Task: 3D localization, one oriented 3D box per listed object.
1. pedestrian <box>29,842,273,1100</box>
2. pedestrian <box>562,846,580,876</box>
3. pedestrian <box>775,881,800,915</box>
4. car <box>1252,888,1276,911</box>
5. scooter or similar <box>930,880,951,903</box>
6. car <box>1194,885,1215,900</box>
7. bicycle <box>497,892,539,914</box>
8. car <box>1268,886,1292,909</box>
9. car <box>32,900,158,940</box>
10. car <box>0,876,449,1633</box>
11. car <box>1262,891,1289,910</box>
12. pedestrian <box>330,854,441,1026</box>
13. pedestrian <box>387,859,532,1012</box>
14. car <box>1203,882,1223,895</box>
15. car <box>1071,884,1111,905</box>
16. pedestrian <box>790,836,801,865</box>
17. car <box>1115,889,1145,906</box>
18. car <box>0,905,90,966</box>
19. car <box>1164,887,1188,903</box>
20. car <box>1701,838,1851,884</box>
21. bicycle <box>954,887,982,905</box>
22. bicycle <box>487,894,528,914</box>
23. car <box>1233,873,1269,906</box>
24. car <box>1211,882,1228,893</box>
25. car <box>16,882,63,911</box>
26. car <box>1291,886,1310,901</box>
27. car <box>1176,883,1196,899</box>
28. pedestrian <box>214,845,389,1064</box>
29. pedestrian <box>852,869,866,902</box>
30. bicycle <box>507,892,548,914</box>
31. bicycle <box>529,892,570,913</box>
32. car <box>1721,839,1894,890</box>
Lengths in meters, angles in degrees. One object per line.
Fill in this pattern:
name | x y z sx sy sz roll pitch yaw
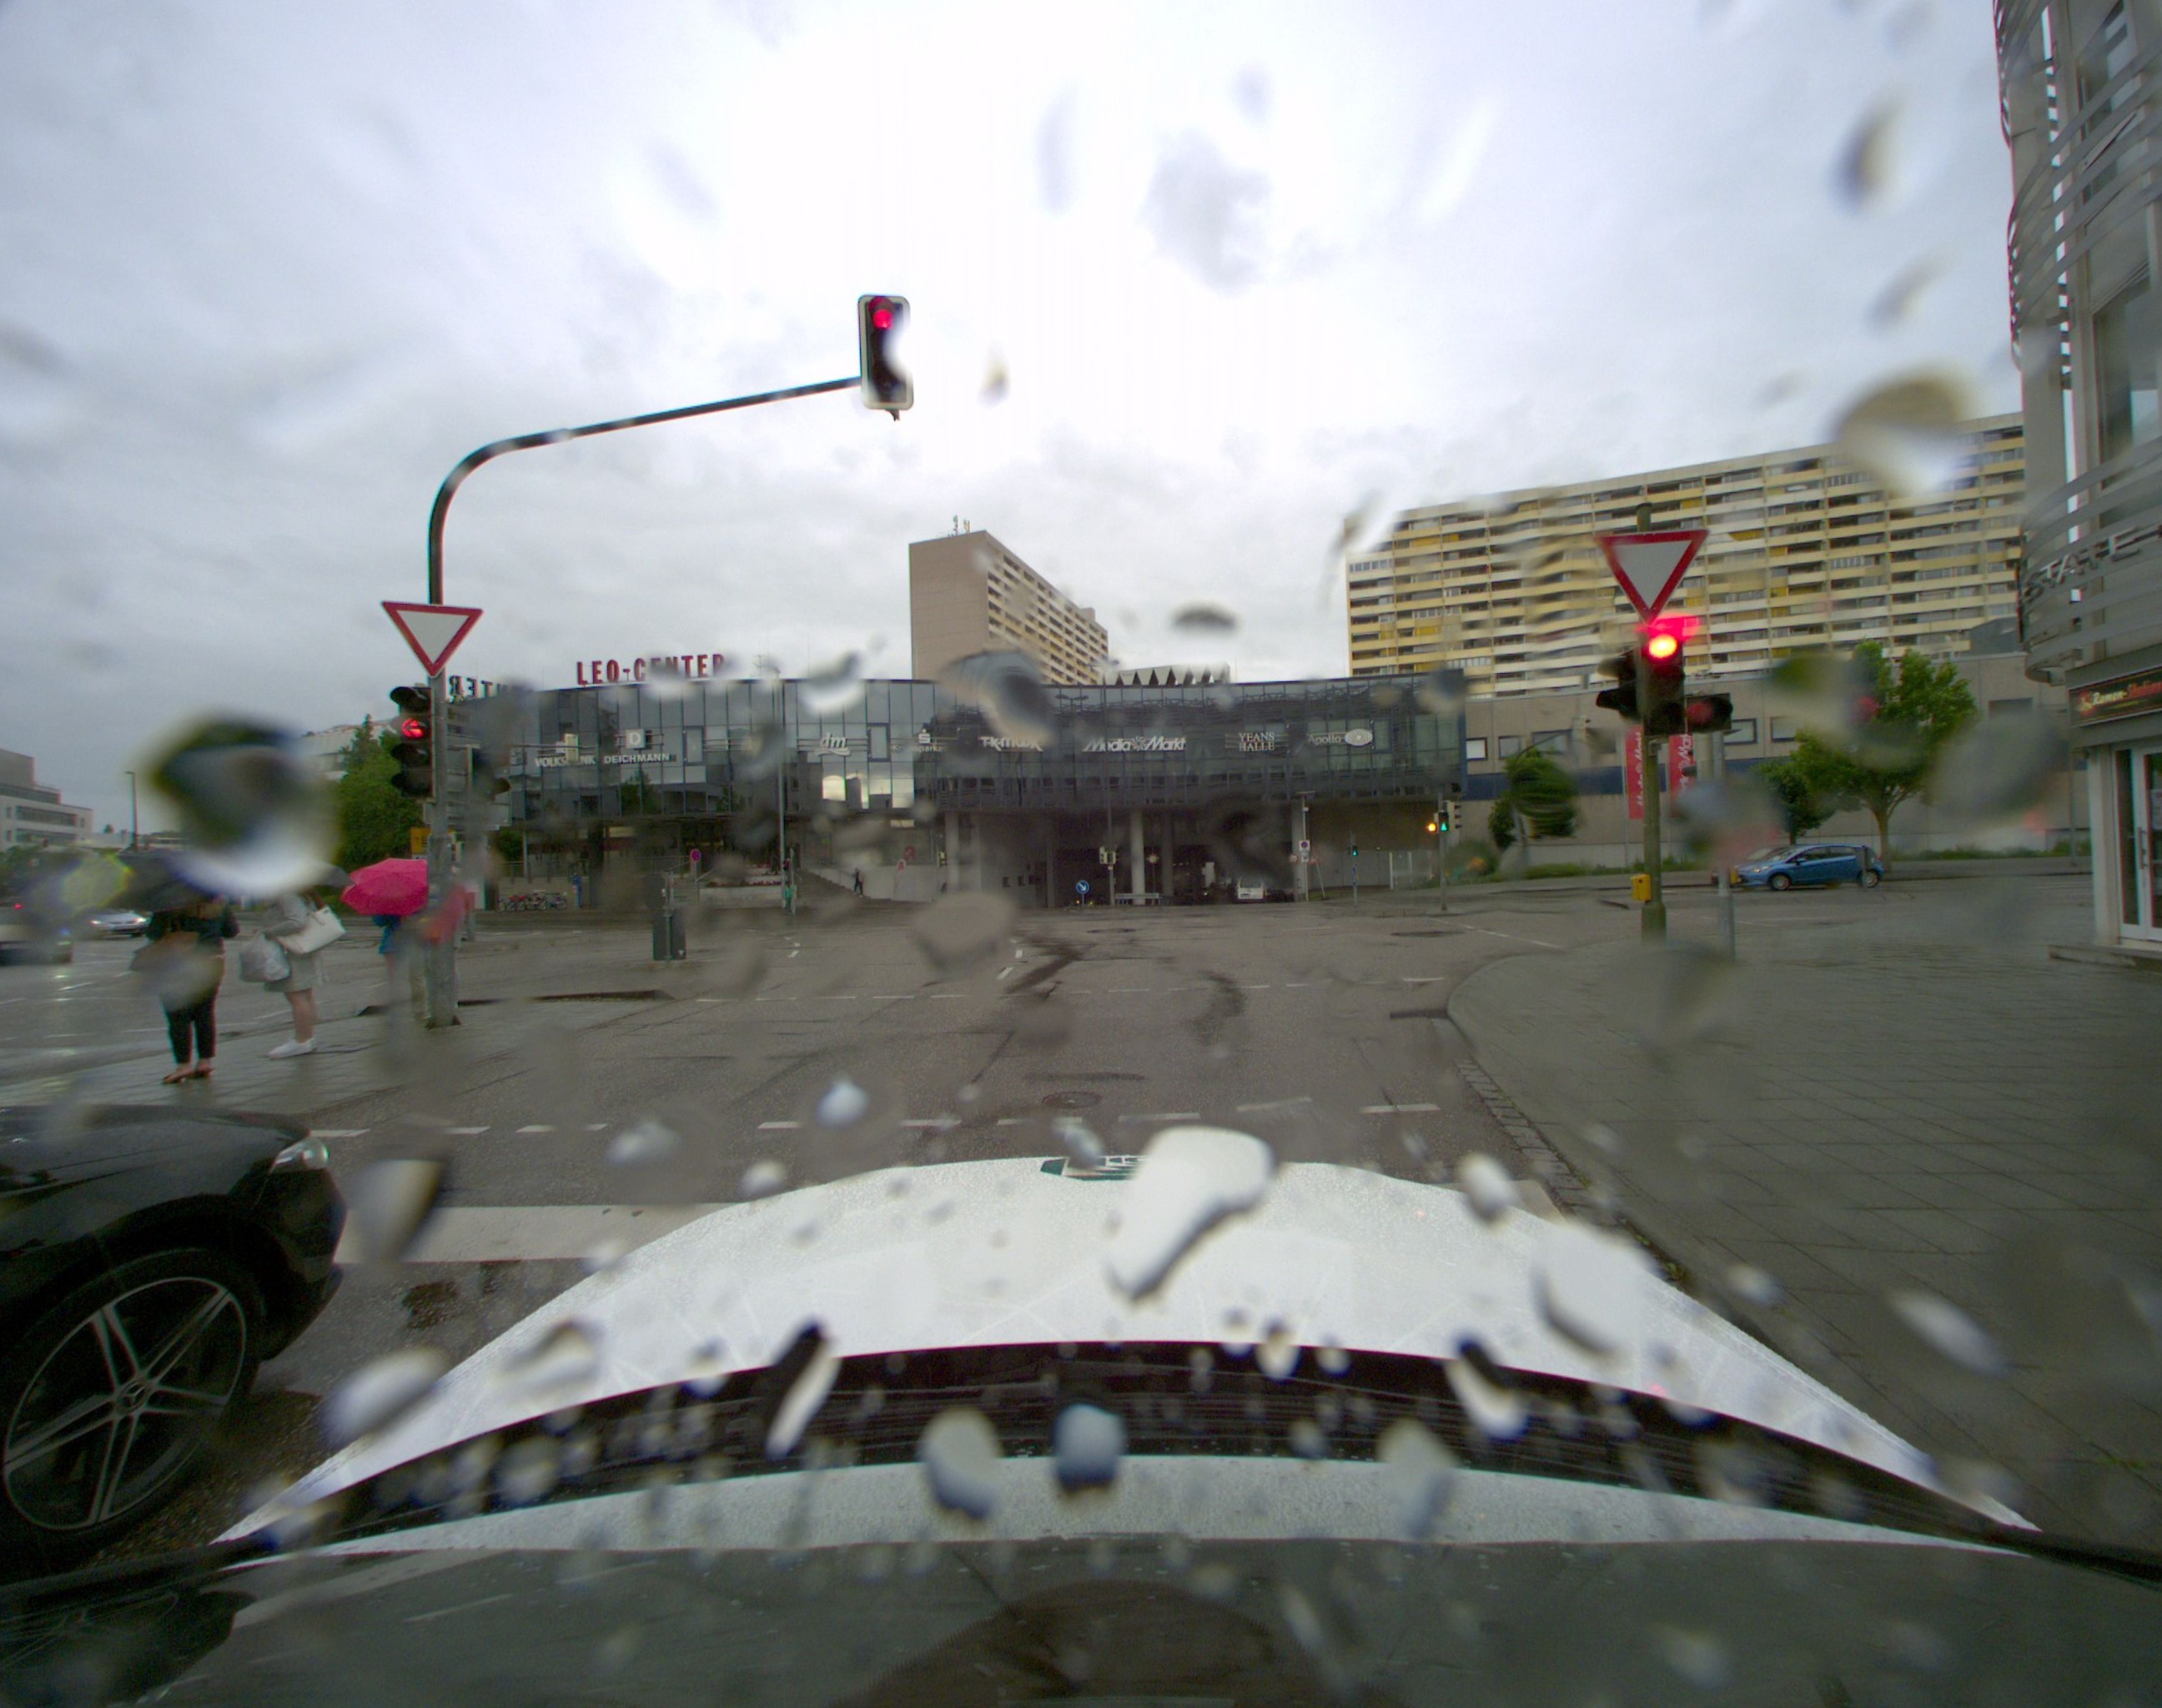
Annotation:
pedestrian | -6.937 0.808 6.148 0.956 1.736 0.829 -2 -1 -28
pedestrian | -29.999 0.420 47.929 0.592 1.714 0.658 -1 -1 25
pedestrian | -14.233 2.126 39.549 0.948 1.623 0.807 -2 -1 -8
car | 13.684 3.393 60.744 1.621 1.612 4.277 -4 -4 13
scooter or similar | -8.395 2.249 48.647 1.167 1.373 0.487 0 -1 -13
car | 15.397 4.778 101.707 1.978 1.664 4.018 -1 -1 18
bicycle | -32.312 2.817 46.763 0.621 1.033 1.865 -3 2 20
car | 17.174 3.684 70.167 1.777 1.771 4.017 -3 -2 17
car | -39.392 2.627 32.547 3.949 1.441 1.754 -2 -1 16
car | -3.010 0.835 0.731 1.657 1.481 4.094 0 0 0
car | 15.702 3.750 65.770 1.765 1.400 4.017 -3 -4 17
pedestrian | -7.293 0.861 8.546 0.811 1.685 0.665 -1 -2 -45
pedestrian | -7.224 0.911 9.516 0.932 1.677 0.917 -2 -1 1
car | 17.753 4.636 109.293 1.978 1.464 4.018 -3 -2 18
car | 0.801 3.181 62.921 1.877 1.470 4.044 -2 -5 18
pedestrian | -17.626 -0.219 50.271 0.633 1.807 0.501 0 -1 -16
car | 4.538 3.990 74.528 1.756 1.464 3.892 -3 -3 18
car | -28.204 2.119 21.330 5.079 1.414 2.136 -3 -2 31
car | 10.645 4.529 91.237 1.899 1.588 3.957 -3 -2 18
car | 24.907 0.270 29.303 3.660 1.395 1.750 -3 -2 11
bicycle | -6.805 2.539 49.100 1.590 1.018 0.448 5 -3 -29
bicycle | -32.998 2.851 46.902 0.529 0.951 1.865 -1 2 23
car | 10.187 2.110 48.598 1.912 1.798 4.311 -2 -2 13
car | 19.473 4.677 114.336 1.979 1.464 4.016 -3 -2 15
car | -75.155 3.041 58.783 4.085 1.896 2.062 -1 -1 38
car | 24.406 4.389 90.499 1.873 1.491 3.857 -1 -1 16
car | 12.395 4.340 95.999 1.823 1.728 4.014 -2 -1 13
pedestrian | -6.844 0.815 7.154 1.123 1.744 0.865 -3 -1 34
pedestrian | -12.990 1.812 47.681 0.655 1.908 0.593 -1 -1 -6
bicycle | -31.603 2.804 46.518 0.640 1.042 1.865 -3 2 20
bicycle | -30.016 2.748 46.038 0.625 1.023 1.864 -3 1 20
car | 23.468 0.357 26.455 3.819 1.397 1.684 -3 -2 10
